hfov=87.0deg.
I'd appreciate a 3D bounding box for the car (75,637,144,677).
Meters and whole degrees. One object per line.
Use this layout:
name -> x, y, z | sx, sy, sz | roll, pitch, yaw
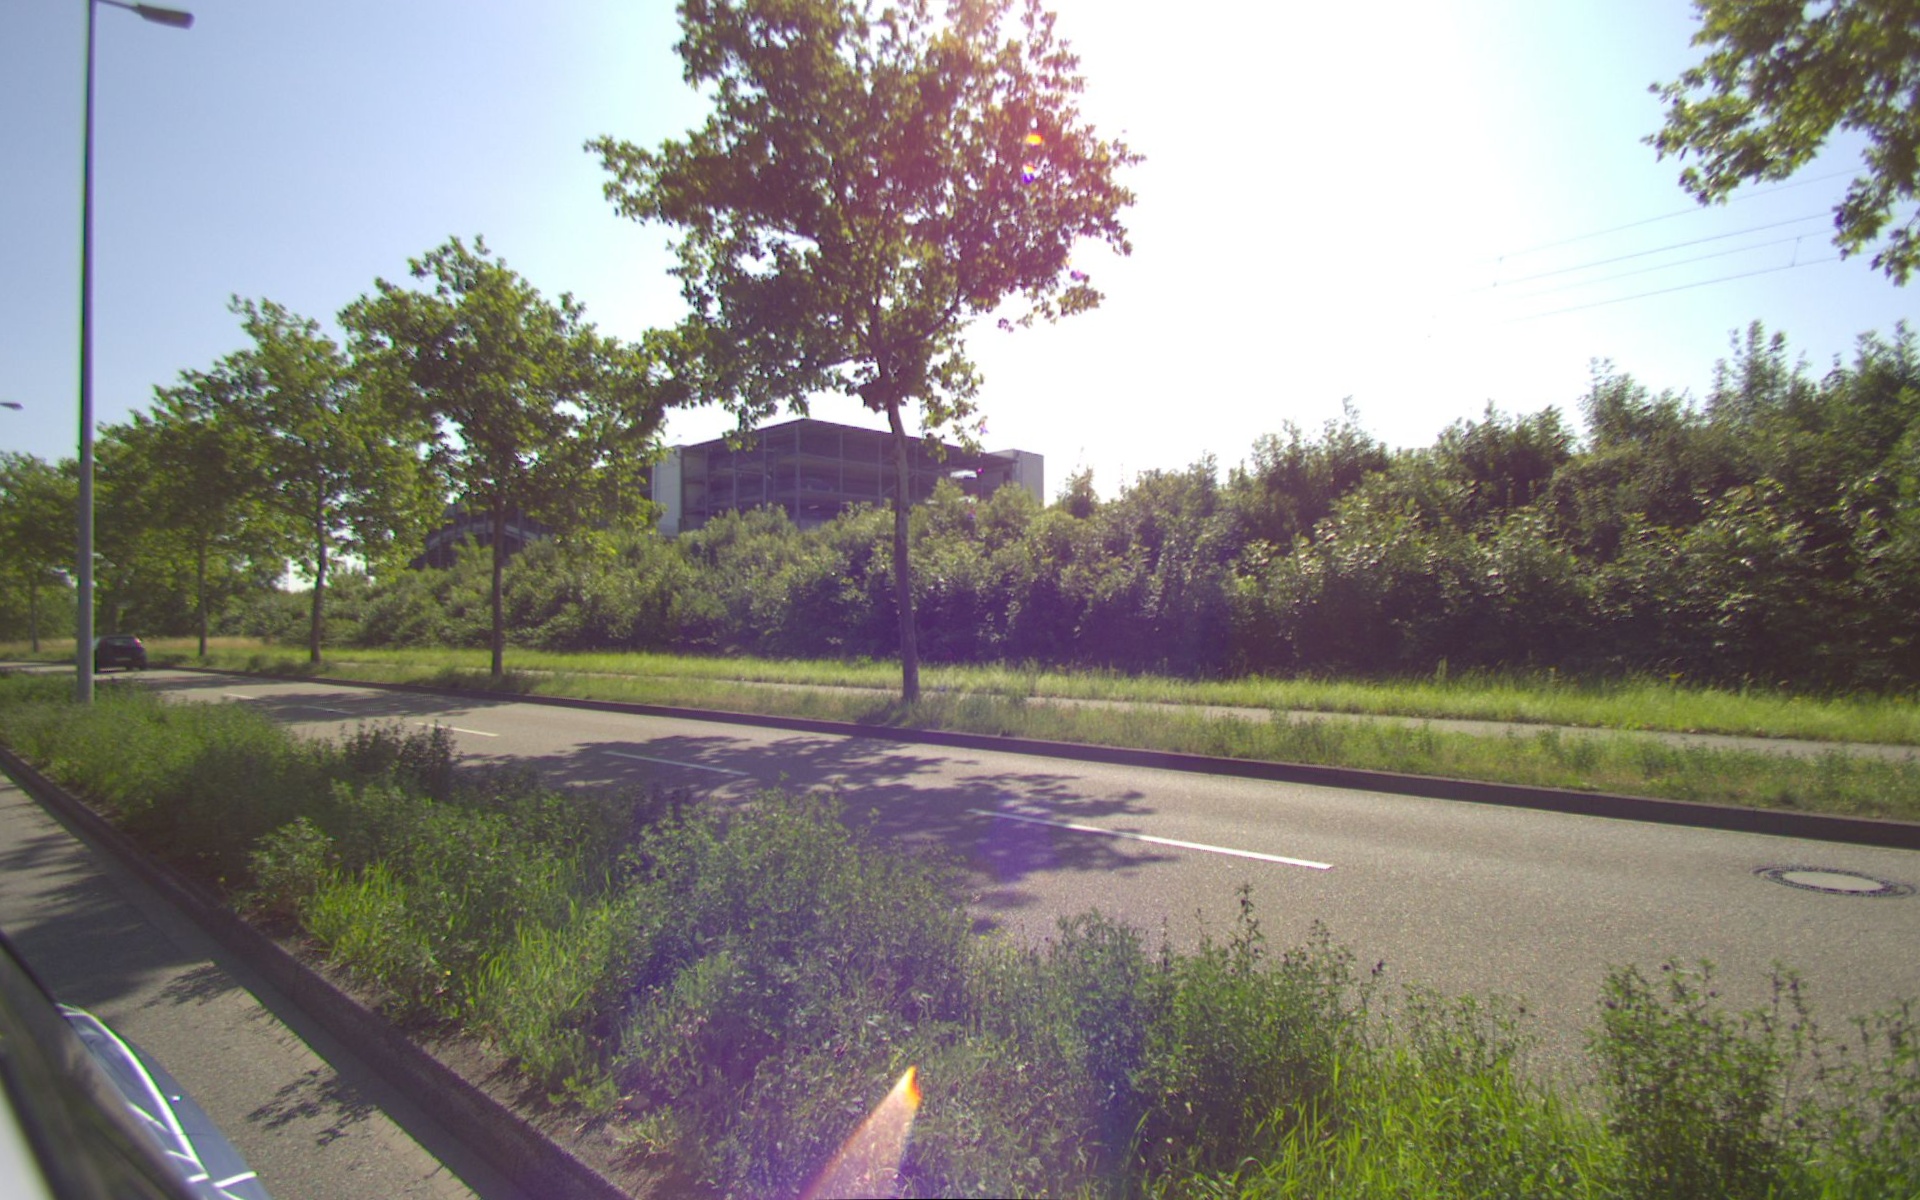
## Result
car -> -33.993, 2.243, 40.419 | 3.925, 1.481, 1.554 | -2, -1, 41
